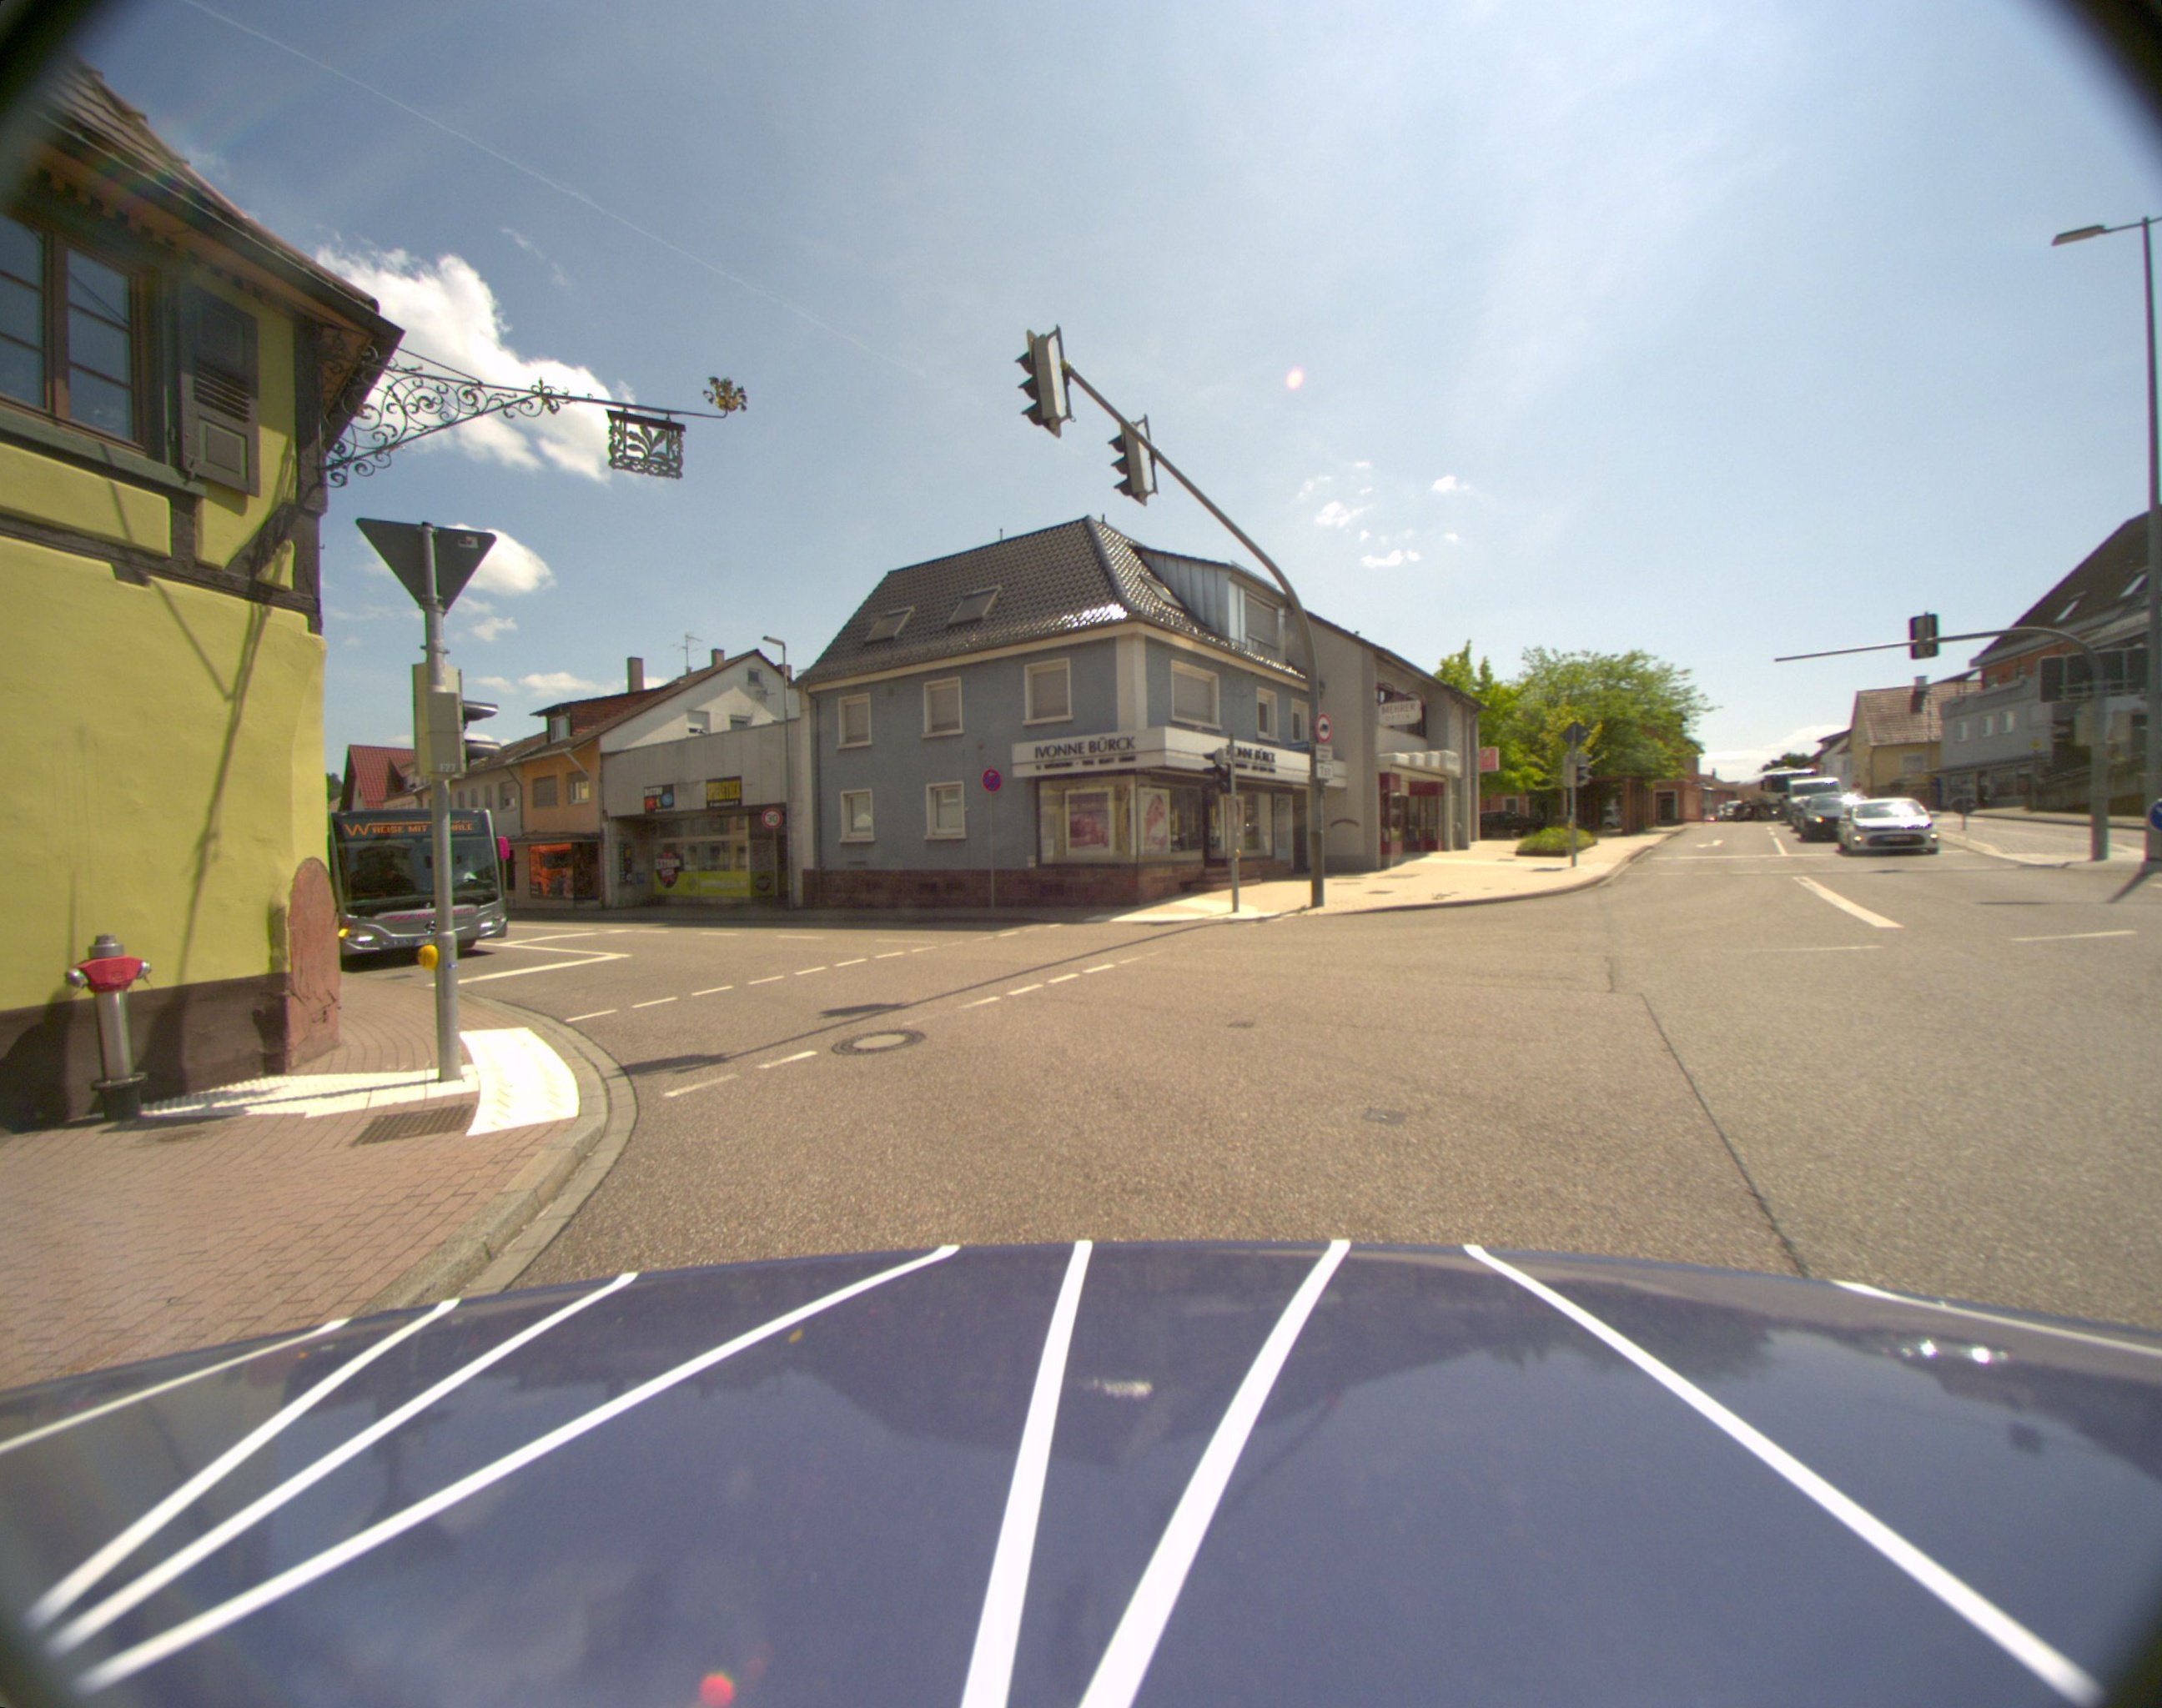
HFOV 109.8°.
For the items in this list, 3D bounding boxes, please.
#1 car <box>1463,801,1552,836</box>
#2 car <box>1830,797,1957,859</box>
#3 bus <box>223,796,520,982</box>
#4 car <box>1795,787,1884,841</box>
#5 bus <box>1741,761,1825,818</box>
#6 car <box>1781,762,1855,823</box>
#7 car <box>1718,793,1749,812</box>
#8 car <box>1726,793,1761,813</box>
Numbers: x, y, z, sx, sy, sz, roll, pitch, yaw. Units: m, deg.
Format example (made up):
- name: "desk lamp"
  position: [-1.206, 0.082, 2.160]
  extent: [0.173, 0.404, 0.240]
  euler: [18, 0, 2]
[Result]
- name: "car"
  position: [24.087, -2.004, 43.000]
  extent: [3.989, 1.669, 2.004]
  euler: [-3, 1, 42]
- name: "car"
  position: [22.428, -0.764, 21.125]
  extent: [1.859, 1.471, 4.006]
  euler: [-3, 2, 39]
- name: "bus"
  position: [-19.619, 0.894, 20.009]
  extent: [18.981, 3.186, 2.866]
  euler: [-3, 1, 39]
- name: "car"
  position: [26.852, -1.452, 27.008]
  extent: [1.859, 1.705, 4.006]
  euler: [-3, 2, 40]
- name: "bus"
  position: [46.449, -4.215, 50.637]
  extent: [2.541, 3.151, 12.671]
  euler: [-3, 2, 36]
- name: "car"
  position: [38.781, -3.222, 40.141]
  extent: [2.298, 2.806, 6.516]
  euler: [-2, 2, 40]
- name: "car"
  position: [63.982, -5.055, 74.563]
  extent: [1.995, 1.627, 4.007]
  euler: [-3, 2, 37]
- name: "car"
  position: [59.576, -4.623, 68.403]
  extent: [1.995, 1.627, 4.006]
  euler: [-3, 2, 37]
